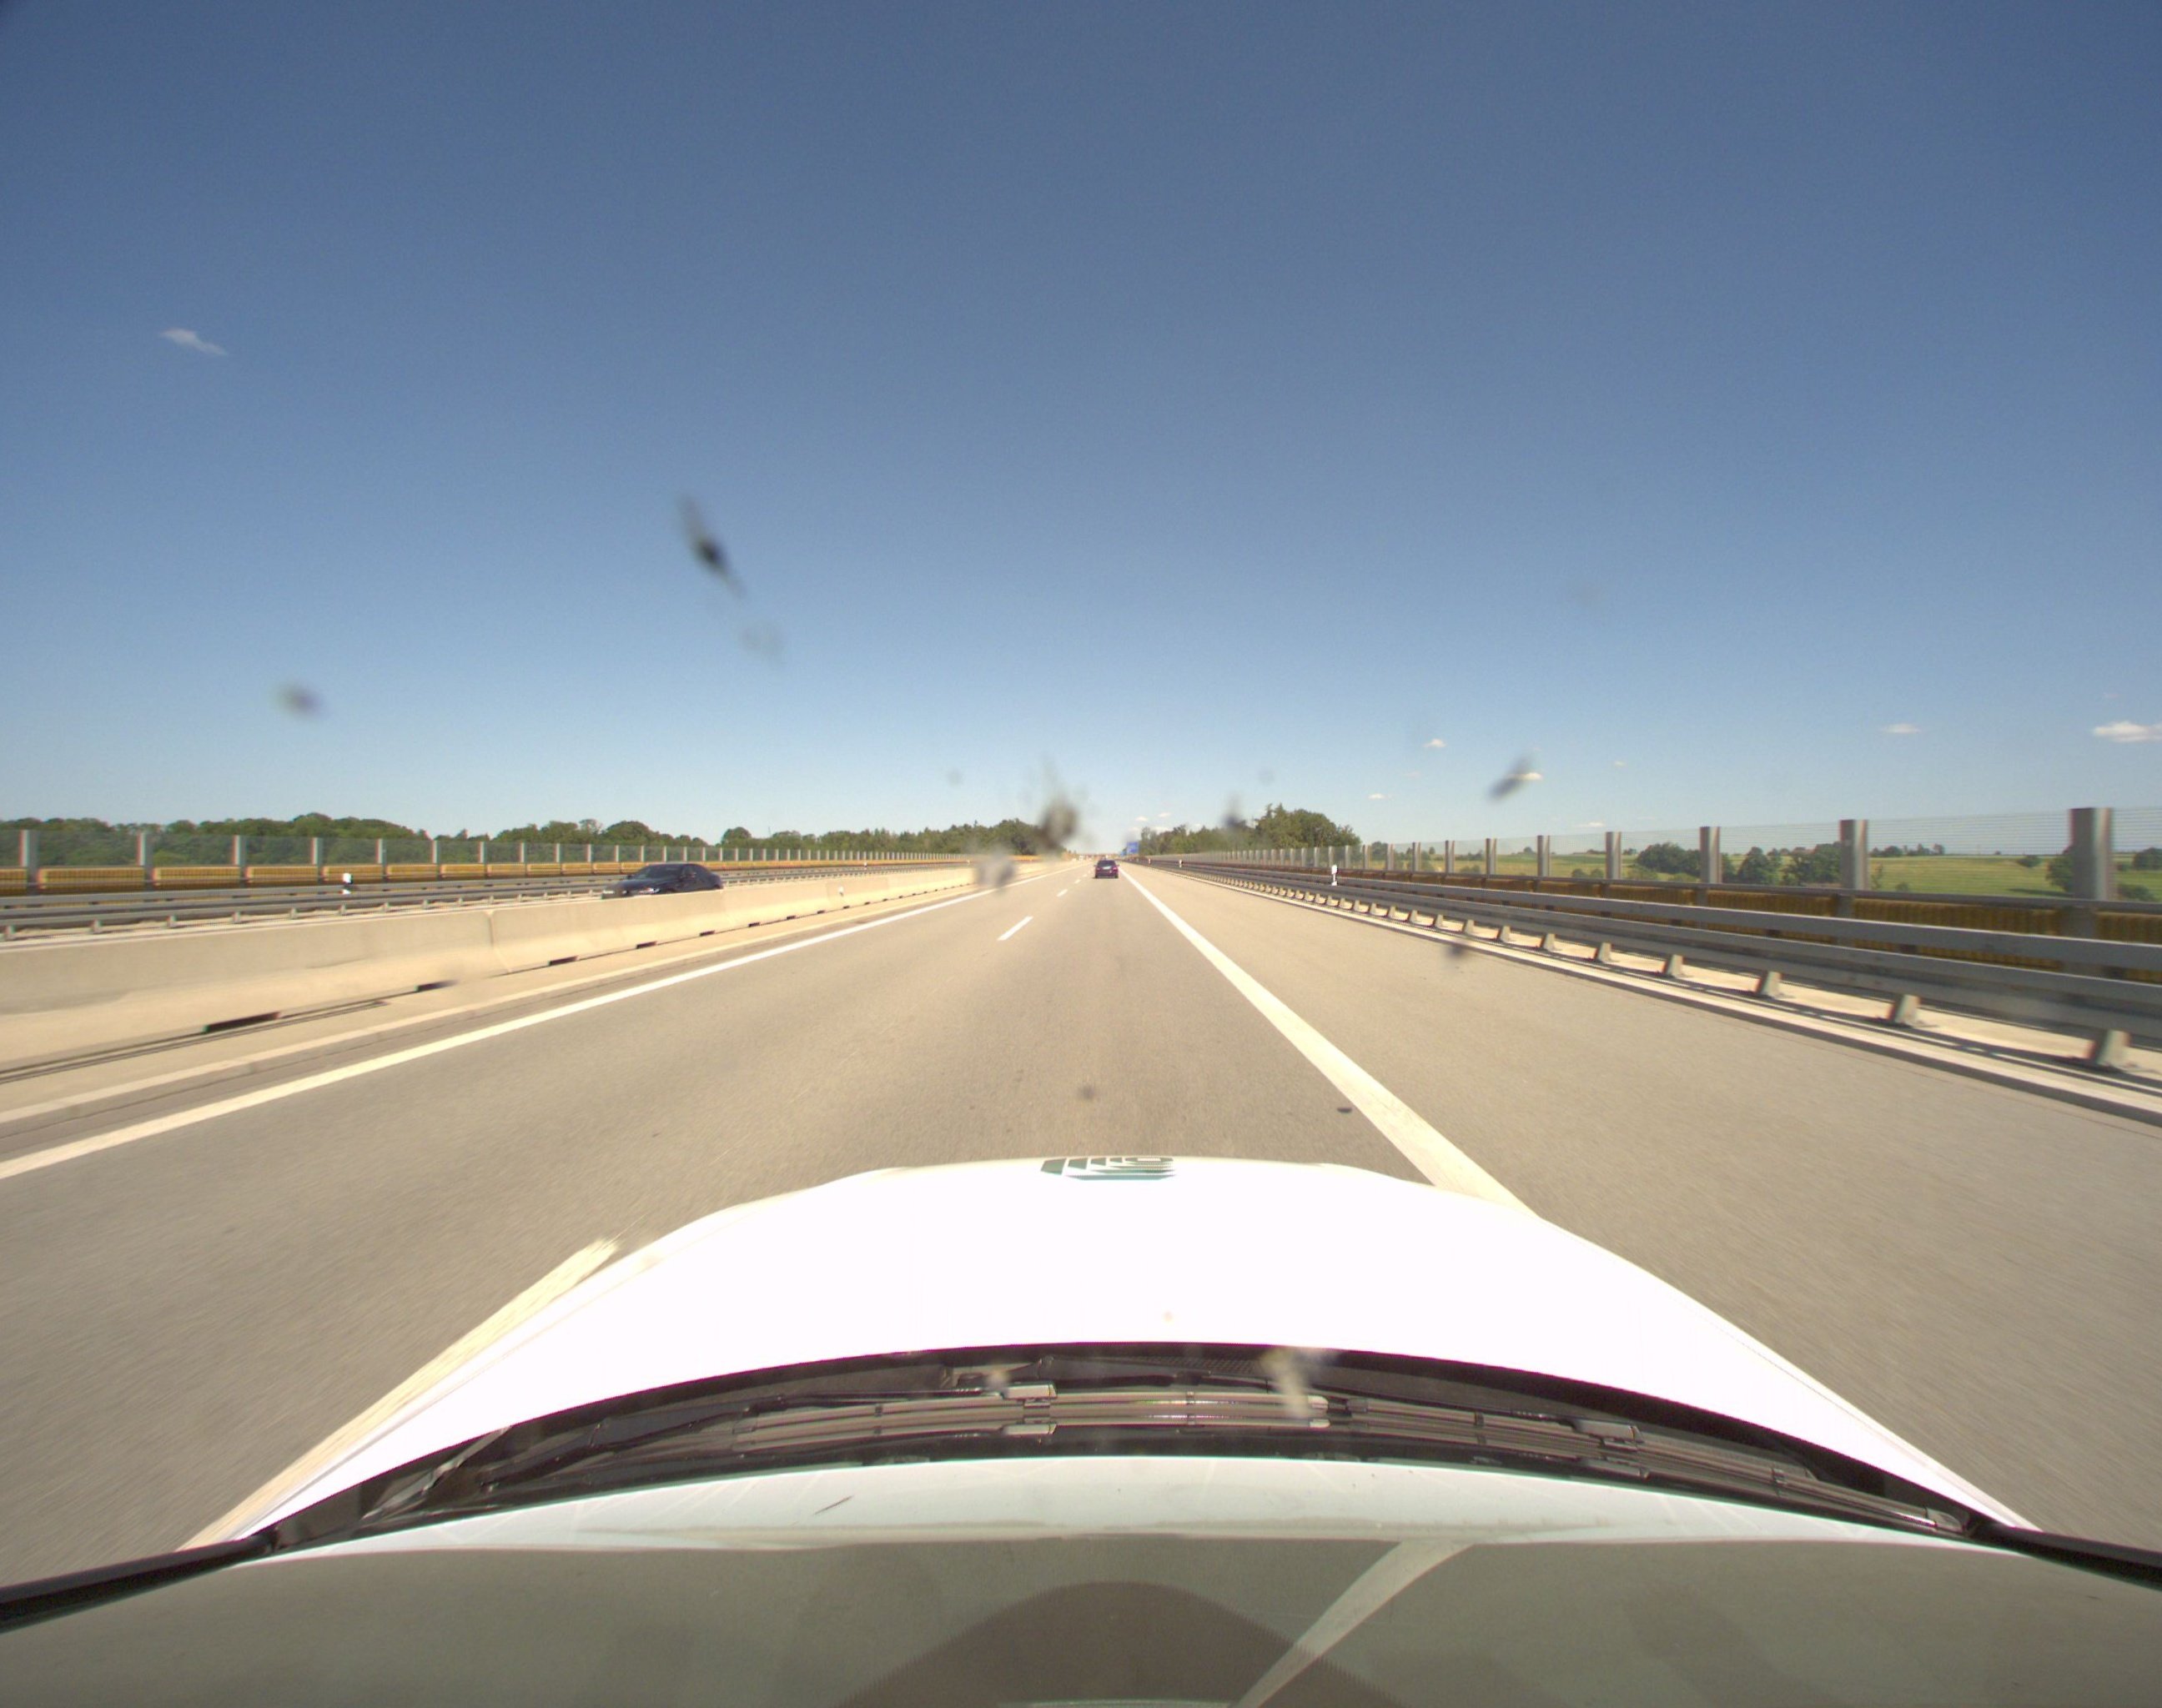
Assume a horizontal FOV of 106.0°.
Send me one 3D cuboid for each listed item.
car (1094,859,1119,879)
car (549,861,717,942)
[{"bbox_3d":[1.956,1.085,61.172,1.783,1.374,3.919,-1,0,2],"label":"car"},{"bbox_3d":[-12.759,1.260,23.614,1.985,2.013,4.765,-1,0,3],"label":"car"}]
